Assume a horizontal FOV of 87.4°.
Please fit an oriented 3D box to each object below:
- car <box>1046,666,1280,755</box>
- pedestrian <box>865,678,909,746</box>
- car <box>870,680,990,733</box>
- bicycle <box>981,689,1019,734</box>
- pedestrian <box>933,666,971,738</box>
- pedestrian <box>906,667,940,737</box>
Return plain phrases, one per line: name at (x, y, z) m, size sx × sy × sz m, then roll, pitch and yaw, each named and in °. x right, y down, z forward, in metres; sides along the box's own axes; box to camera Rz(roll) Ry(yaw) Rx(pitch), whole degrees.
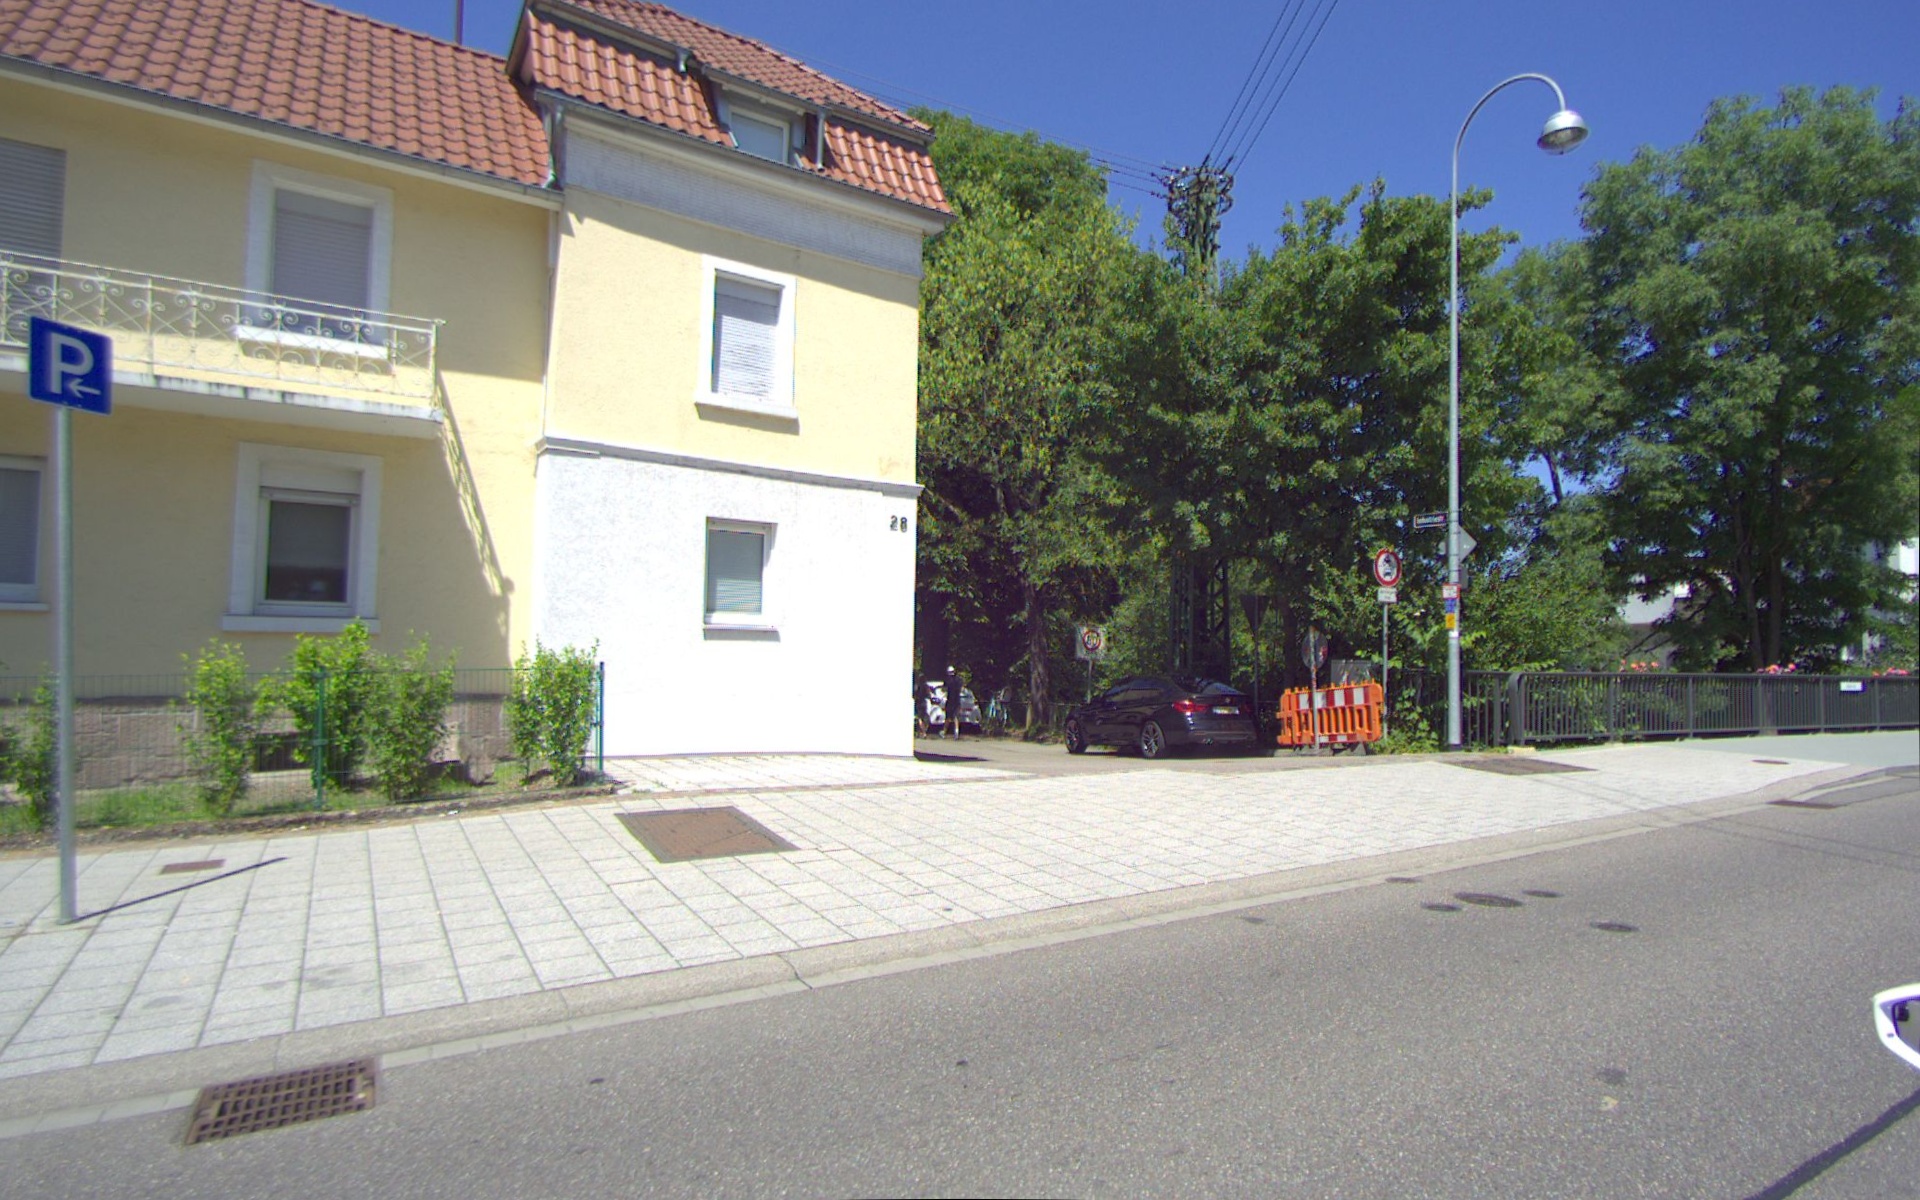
car at (3.598, 2.089, 18.754) m, size 1.973 × 1.436 × 4.518 m, roll 2°, pitch -7°, yaw -25°
pedestrian at (-1.688, 2.566, 23.174) m, size 0.730 × 1.523 × 0.906 m, roll 2°, pitch -4°, yaw -27°
car at (-0.978, 3.211, 30.585) m, size 1.978 × 1.495 × 3.968 m, roll 4°, pitch -6°, yaw -31°
bicycle at (1.152, 3.250, 29.383) m, size 0.550 × 1.257 × 1.885 m, roll 1°, pitch -5°, yaw -16°
pedestrian at (-0.210, 2.662, 26.346) m, size 0.695 × 1.845 × 0.850 m, roll 2°, pitch -4°, yaw -25°
pedestrian at (-0.958, 2.612, 25.874) m, size 0.593 × 1.746 × 0.850 m, roll 2°, pitch -4°, yaw -25°
